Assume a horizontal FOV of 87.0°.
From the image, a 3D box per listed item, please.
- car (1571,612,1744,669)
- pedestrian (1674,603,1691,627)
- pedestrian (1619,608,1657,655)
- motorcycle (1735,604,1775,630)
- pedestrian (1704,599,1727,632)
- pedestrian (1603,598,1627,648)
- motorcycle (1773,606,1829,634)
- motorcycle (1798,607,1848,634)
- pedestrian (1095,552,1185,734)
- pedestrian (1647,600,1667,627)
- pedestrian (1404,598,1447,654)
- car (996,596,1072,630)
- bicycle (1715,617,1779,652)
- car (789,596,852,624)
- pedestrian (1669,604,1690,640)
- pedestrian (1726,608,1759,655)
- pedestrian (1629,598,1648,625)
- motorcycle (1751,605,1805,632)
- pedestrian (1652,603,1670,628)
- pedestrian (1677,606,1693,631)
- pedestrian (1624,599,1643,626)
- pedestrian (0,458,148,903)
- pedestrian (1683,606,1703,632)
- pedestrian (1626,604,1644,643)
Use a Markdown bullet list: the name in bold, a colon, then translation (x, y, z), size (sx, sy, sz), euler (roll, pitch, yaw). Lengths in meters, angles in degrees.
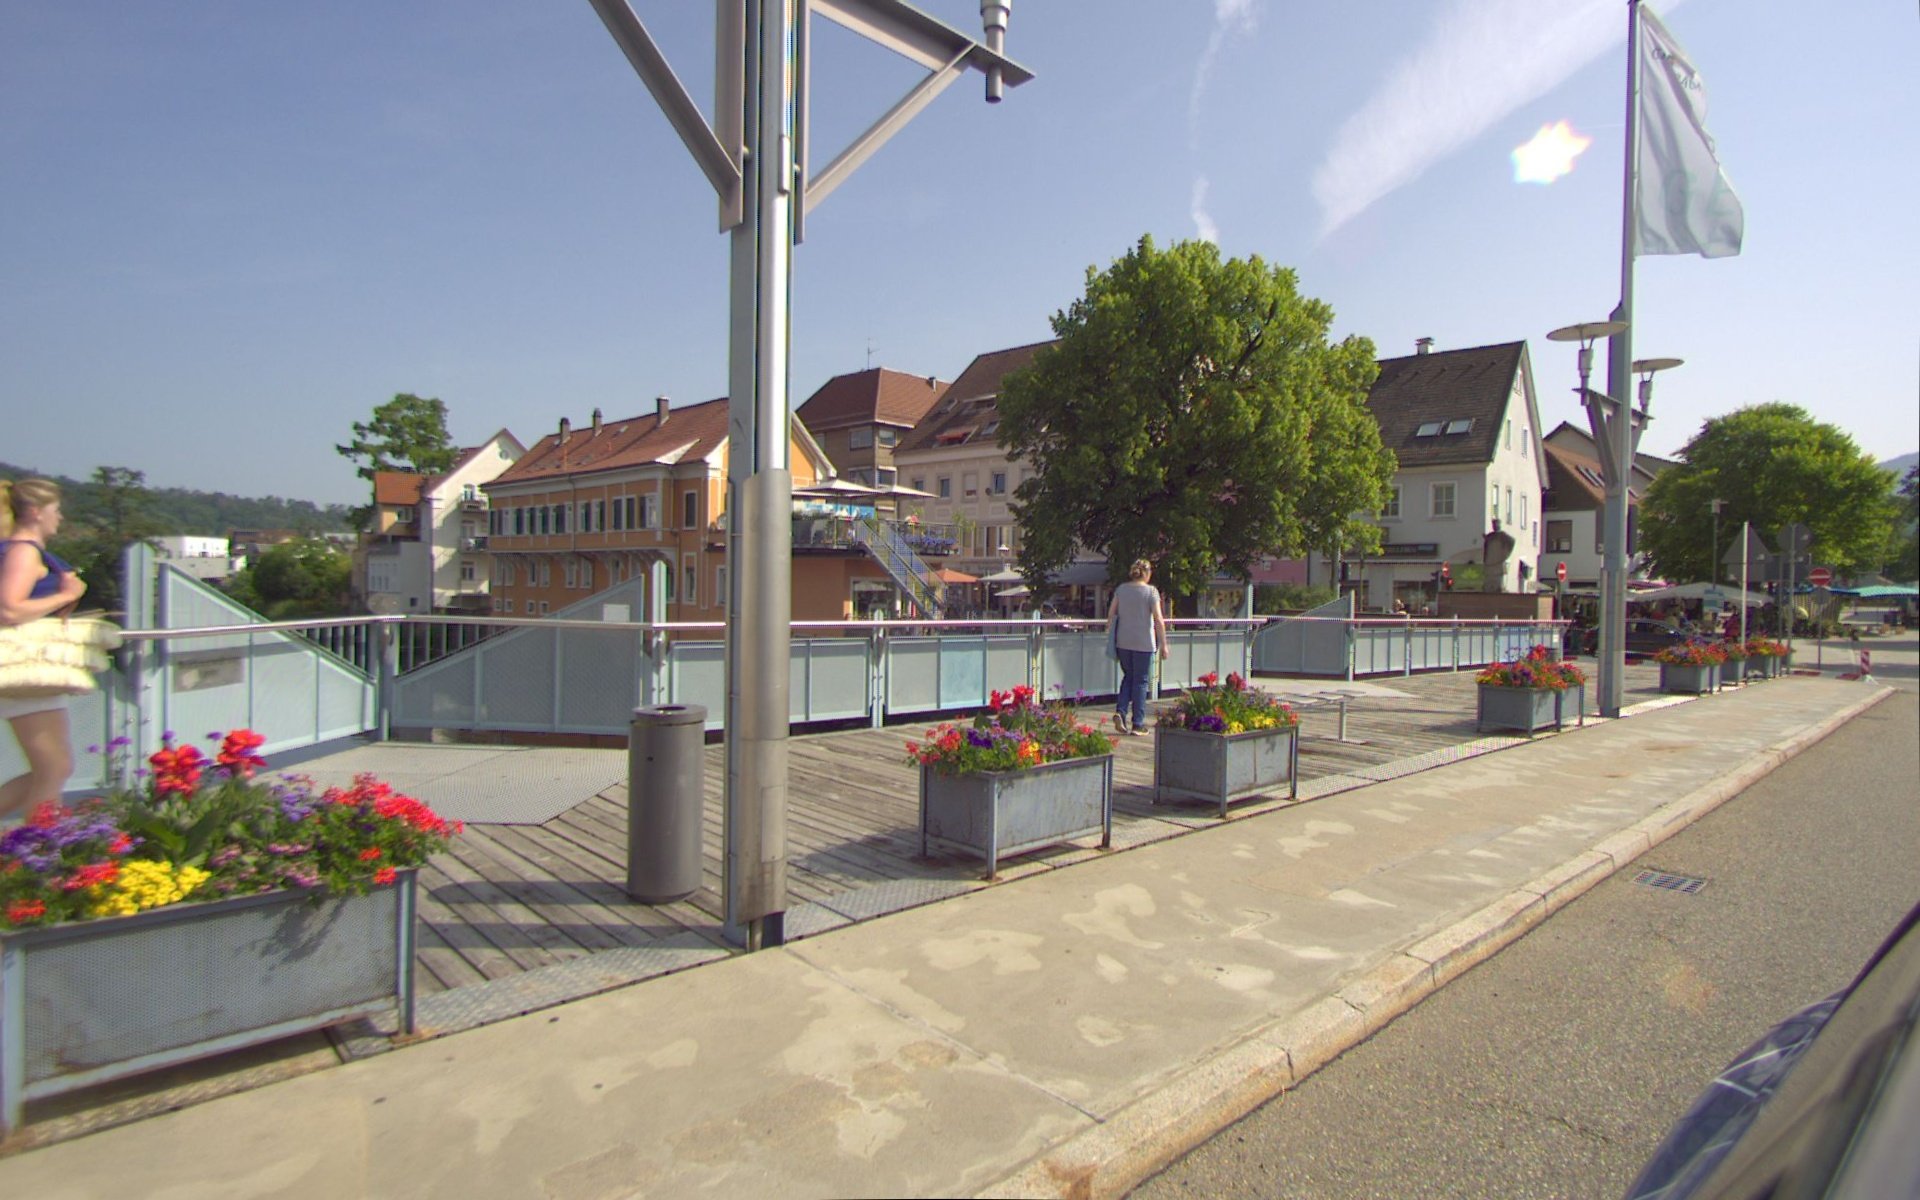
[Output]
- **car**: translation (22.841, 1.258, 33.262), size (4.484, 1.585, 1.797), euler (1, 2, 43)
- **pedestrian**: translation (37.732, 0.789, 52.864), size (0.640, 1.215, 0.571), euler (-1, 4, -44)
- **pedestrian**: translation (25.038, 1.163, 37.389), size (0.841, 1.652, 0.790), euler (-1, 2, -10)
- **motorcycle**: translation (41.321, 0.892, 52.605), size (0.633, 1.210, 1.529), euler (0, 4, -44)
- **pedestrian**: translation (37.228, 0.759, 49.856), size (0.562, 1.572, 0.699), euler (0, 3, -38)
- **pedestrian**: translation (26.779, 0.944, 41.389), size (0.700, 2.010, 0.647), euler (1, 0, 25)
- **motorcycle**: translation (42.413, 1.008, 51.067), size (0.631, 1.210, 2.008), euler (1, 3, -31)
- **motorcycle**: translation (43.556, 1.026, 51.097), size (0.631, 1.210, 2.008), euler (3, 3, -3)
- **pedestrian**: translation (1.699, 0.381, 9.536), size (0.663, 1.639, 0.556), euler (1, 0, 33)
- **pedestrian**: translation (36.447, 0.712, 52.909), size (0.687, 1.347, 0.626), euler (0, 3, -41)
- **pedestrian**: translation (15.746, 0.878, 34.275), size (0.890, 1.838, 1.021), euler (3, -2, -3)
- **car**: translation (4.104, 0.701, 56.459), size (4.131, 1.761, 1.686), euler (1, 2, 43)
- **bicycle**: translation (30.012, 1.312, 38.623), size (1.849, 1.250, 0.610), euler (1, 0, 33)
- **car**: translation (-8.380, 0.575, 60.498), size (1.656, 1.578, 4.093), euler (0, 1, -44)
- **pedestrian**: translation (31.171, 0.958, 43.845), size (0.616, 1.537, 0.627), euler (1, 0, 26)
- **pedestrian**: translation (29.188, 1.166, 37.760), size (0.878, 1.678, 0.565), euler (4, 3, 36)
- **pedestrian**: translation (35.686, 0.602, 53.222), size (0.687, 1.347, 0.626), euler (0, 3, -41)
- **motorcycle**: translation (41.365, 0.920, 51.200), size (0.631, 1.210, 2.008), euler (0, 4, -31)
- **pedestrian**: translation (35.864, 0.767, 51.777), size (0.640, 1.215, 0.571), euler (-1, 4, -44)
- **pedestrian**: translation (36.360, 0.919, 50.785), size (0.569, 1.215, 0.643), euler (4, 3, 35)
- **pedestrian**: translation (35.015, 0.634, 52.609), size (0.687, 1.347, 0.626), euler (0, 3, -41)
- **pedestrian**: translation (-3.942, 0.311, 4.286), size (0.734, 1.745, 0.727), euler (1, 0, -41)
- **pedestrian**: translation (36.094, 0.936, 49.865), size (0.694, 1.215, 0.566), euler (4, 3, 32)
- **pedestrian**: translation (29.071, 1.002, 43.588), size (0.520, 1.647, 0.697), euler (1, 0, 41)
